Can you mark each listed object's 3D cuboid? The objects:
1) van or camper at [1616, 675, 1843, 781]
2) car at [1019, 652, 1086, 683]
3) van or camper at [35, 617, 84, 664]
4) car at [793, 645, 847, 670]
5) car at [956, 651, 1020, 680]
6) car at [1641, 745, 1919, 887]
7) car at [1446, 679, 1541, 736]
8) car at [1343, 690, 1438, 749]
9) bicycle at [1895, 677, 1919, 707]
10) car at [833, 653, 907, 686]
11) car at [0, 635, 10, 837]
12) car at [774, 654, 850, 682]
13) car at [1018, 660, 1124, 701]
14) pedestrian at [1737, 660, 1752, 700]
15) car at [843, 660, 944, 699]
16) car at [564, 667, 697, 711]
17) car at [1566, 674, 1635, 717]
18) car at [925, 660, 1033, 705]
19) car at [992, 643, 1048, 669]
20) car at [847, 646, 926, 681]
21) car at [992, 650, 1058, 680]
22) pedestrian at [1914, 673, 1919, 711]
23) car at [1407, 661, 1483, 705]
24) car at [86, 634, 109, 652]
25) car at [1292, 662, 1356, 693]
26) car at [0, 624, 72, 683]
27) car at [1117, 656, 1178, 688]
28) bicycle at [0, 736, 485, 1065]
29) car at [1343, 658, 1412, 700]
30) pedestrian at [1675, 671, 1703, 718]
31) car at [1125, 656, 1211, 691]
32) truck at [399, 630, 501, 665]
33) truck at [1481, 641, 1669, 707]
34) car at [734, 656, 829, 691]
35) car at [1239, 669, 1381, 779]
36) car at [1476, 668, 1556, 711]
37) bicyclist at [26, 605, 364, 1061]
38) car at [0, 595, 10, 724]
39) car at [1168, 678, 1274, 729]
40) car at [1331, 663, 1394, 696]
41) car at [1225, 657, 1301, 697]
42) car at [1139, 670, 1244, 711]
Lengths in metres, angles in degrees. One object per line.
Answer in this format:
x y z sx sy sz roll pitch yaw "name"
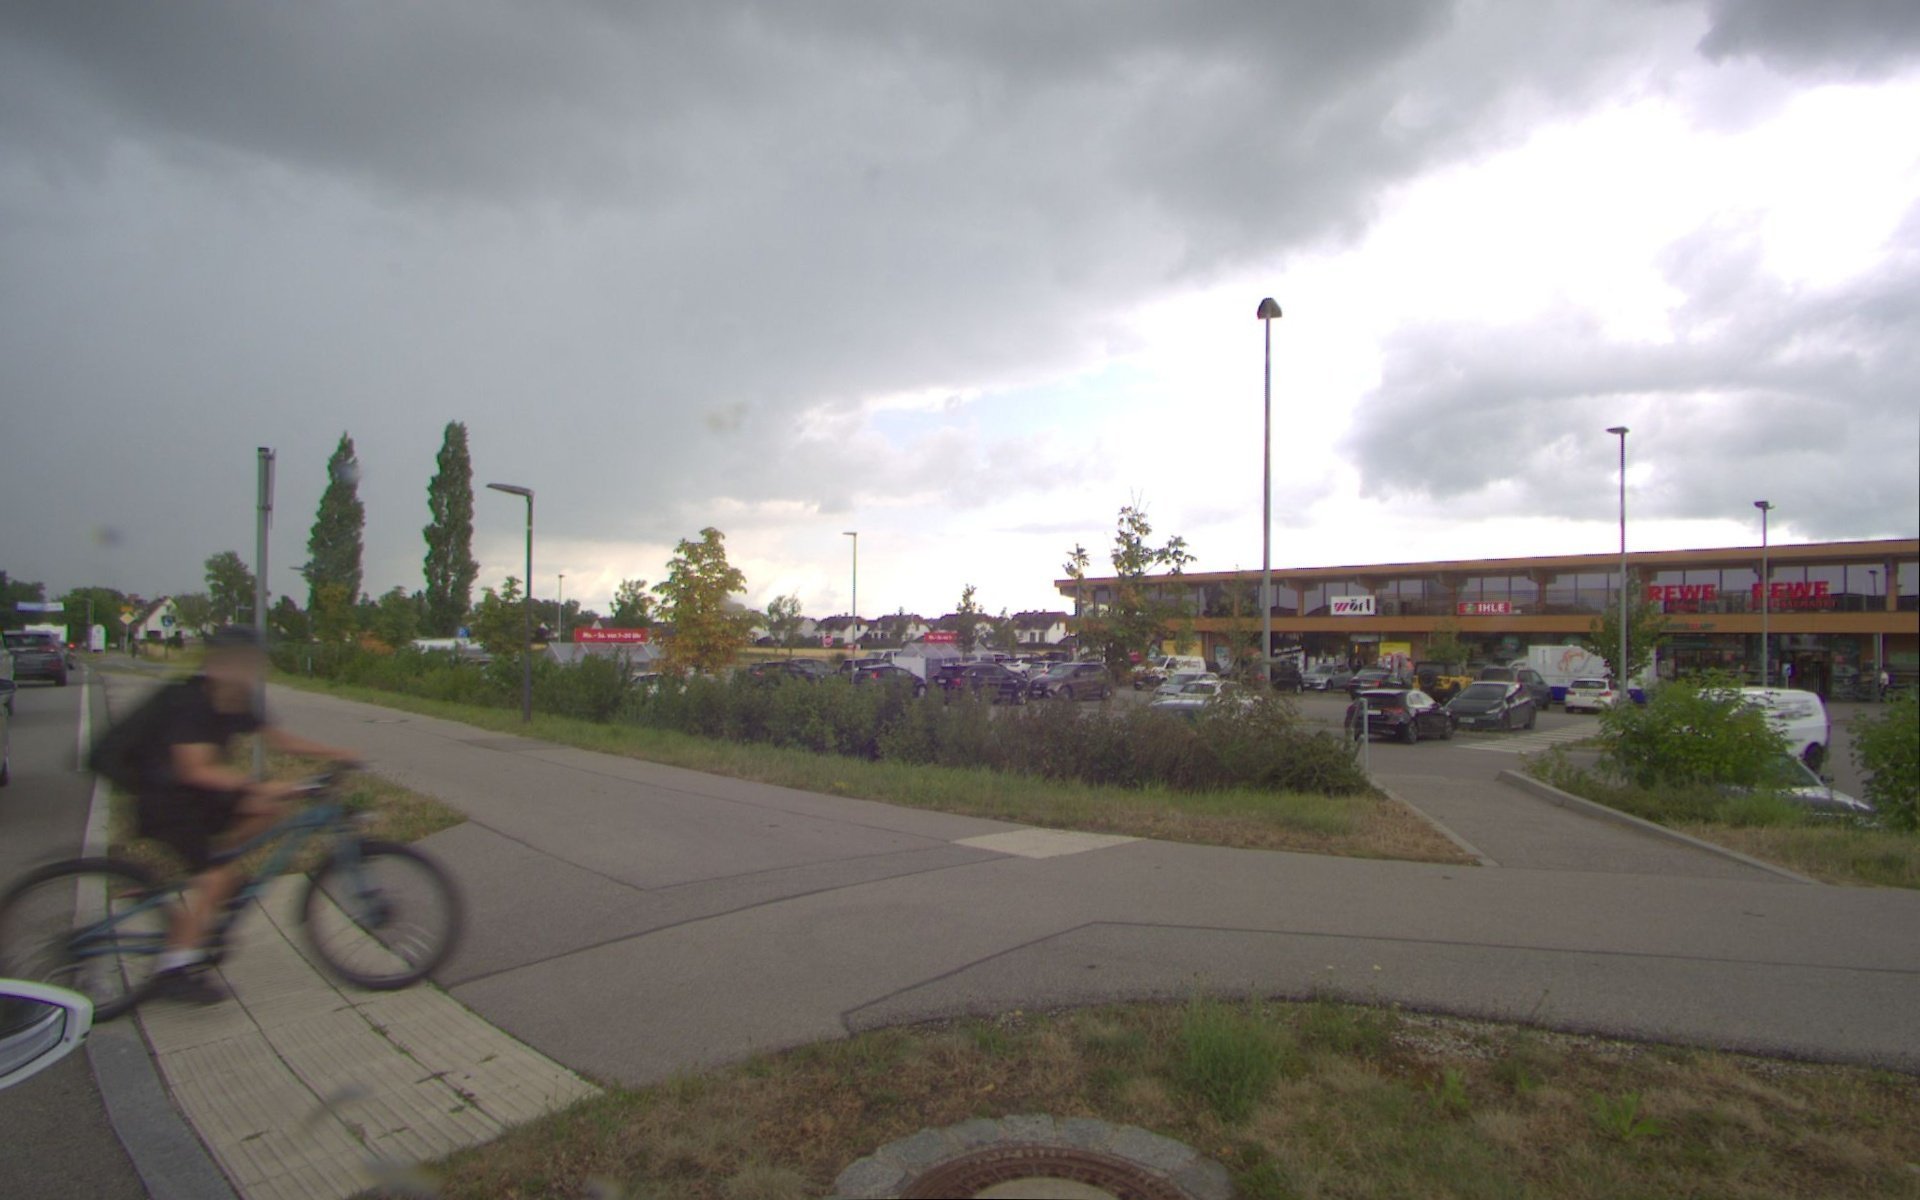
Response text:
16.773 2.762 21.824 4.728 2.123 1.761 3 -4 -22 "van or camper"
5.846 4.234 62.821 3.956 1.860 1.984 3 -4 -39 "car"
-68.090 3.119 75.784 2.607 3.364 6.762 3 -4 -42 "van or camper"
-11.563 4.744 82.916 3.956 1.859 1.985 6 -5 -38 "car"
1.890 4.369 66.839 3.955 1.860 1.985 3 -3 -39 "car"
11.483 2.941 14.293 1.551 1.389 3.734 0 -3 11 "car"
17.014 3.366 31.860 1.713 1.572 3.967 -1 -3 43 "car"
12.072 3.296 27.948 1.811 1.414 3.983 0 -5 33 "car"
44.615 4.241 45.658 0.970 1.325 2.843 2 -3 -42 "bicycle"
-5.031 3.905 56.388 3.960 1.727 1.701 4 -4 -42 "car"
-8.688 0.983 7.831 1.772 1.409 4.094 1 -2 -43 "car"
-8.961 4.096 60.799 4.280 1.597 1.753 3 -3 -40 "car"
5.061 3.596 45.262 4.940 1.685 1.982 3 -3 -42 "car"
39.580 4.027 50.535 0.573 1.973 0.520 2 -2 -42 "pedestrian"
-3.030 3.618 46.098 4.373 1.685 1.982 3 -3 -42 "car"
-12.052 3.220 36.744 4.203 1.458 1.983 3 -3 -42 "car"
26.030 3.827 40.639 1.713 1.549 3.967 -1 -3 43 "car"
0.833 3.394 41.401 4.421 1.727 1.787 4 -4 -42 "car"
4.454 4.151 74.031 3.954 1.863 1.861 2 -3 -38 "car"
-4.518 3.918 62.433 1.975 2.039 5.091 0 -2 38 "car"
4.214 4.208 64.890 3.954 1.861 1.985 2 -3 -38 "car"
42.940 4.088 44.420 0.742 1.678 0.798 2 -2 -41 "pedestrian"
22.026 3.741 45.464 3.960 1.877 1.757 3 -4 -42 "car"
-82.186 4.106 95.475 1.602 1.651 3.586 3 -3 -40 "car"
20.182 4.282 55.439 1.750 1.632 4.189 -2 -4 45 "car"
-27.616 1.551 29.721 1.763 1.638 3.966 2 -3 -40 "car"
12.105 4.644 64.494 4.076 1.917 1.781 4 -4 -43 "car"
-2.726 1.058 3.763 1.686 0.958 0.495 0 -1 -24 "bicycle"
19.920 3.736 47.686 1.754 1.878 3.966 -1 -3 44 "car"
32.568 4.188 44.736 0.921 2.039 0.800 -1 -2 41 "pedestrian"
11.628 4.061 55.671 5.250 1.853 1.983 4 -4 -42 "car"
-29.046 2.757 57.104 1.980 1.895 4.771 -2 -4 44 "truck"
29.004 3.398 47.431 7.183 2.842 2.951 -2 -3 44 "truck"
-9.287 3.795 52.295 4.525 1.685 1.982 3 -3 -42 "car"
4.680 1.633 13.790 1.550 1.221 3.756 1 -4 15 "car"
23.744 3.792 42.713 4.081 1.746 1.835 4 -5 -43 "car"
-2.765 0.762 3.735 0.855 1.465 0.722 0 -1 -25 "bicyclist"
-16.592 0.905 16.061 1.856 1.958 3.962 4 -4 -43 "car"
8.581 3.322 32.747 1.665 1.503 3.963 -2 -4 44 "car"
21.669 4.252 53.877 3.859 1.674 1.750 4 -4 -44 "car"
15.729 3.990 51.915 3.962 1.859 1.982 6 -5 -42 "car"
9.640 3.712 41.481 4.741 1.503 1.887 3 -3 -42 "car"
